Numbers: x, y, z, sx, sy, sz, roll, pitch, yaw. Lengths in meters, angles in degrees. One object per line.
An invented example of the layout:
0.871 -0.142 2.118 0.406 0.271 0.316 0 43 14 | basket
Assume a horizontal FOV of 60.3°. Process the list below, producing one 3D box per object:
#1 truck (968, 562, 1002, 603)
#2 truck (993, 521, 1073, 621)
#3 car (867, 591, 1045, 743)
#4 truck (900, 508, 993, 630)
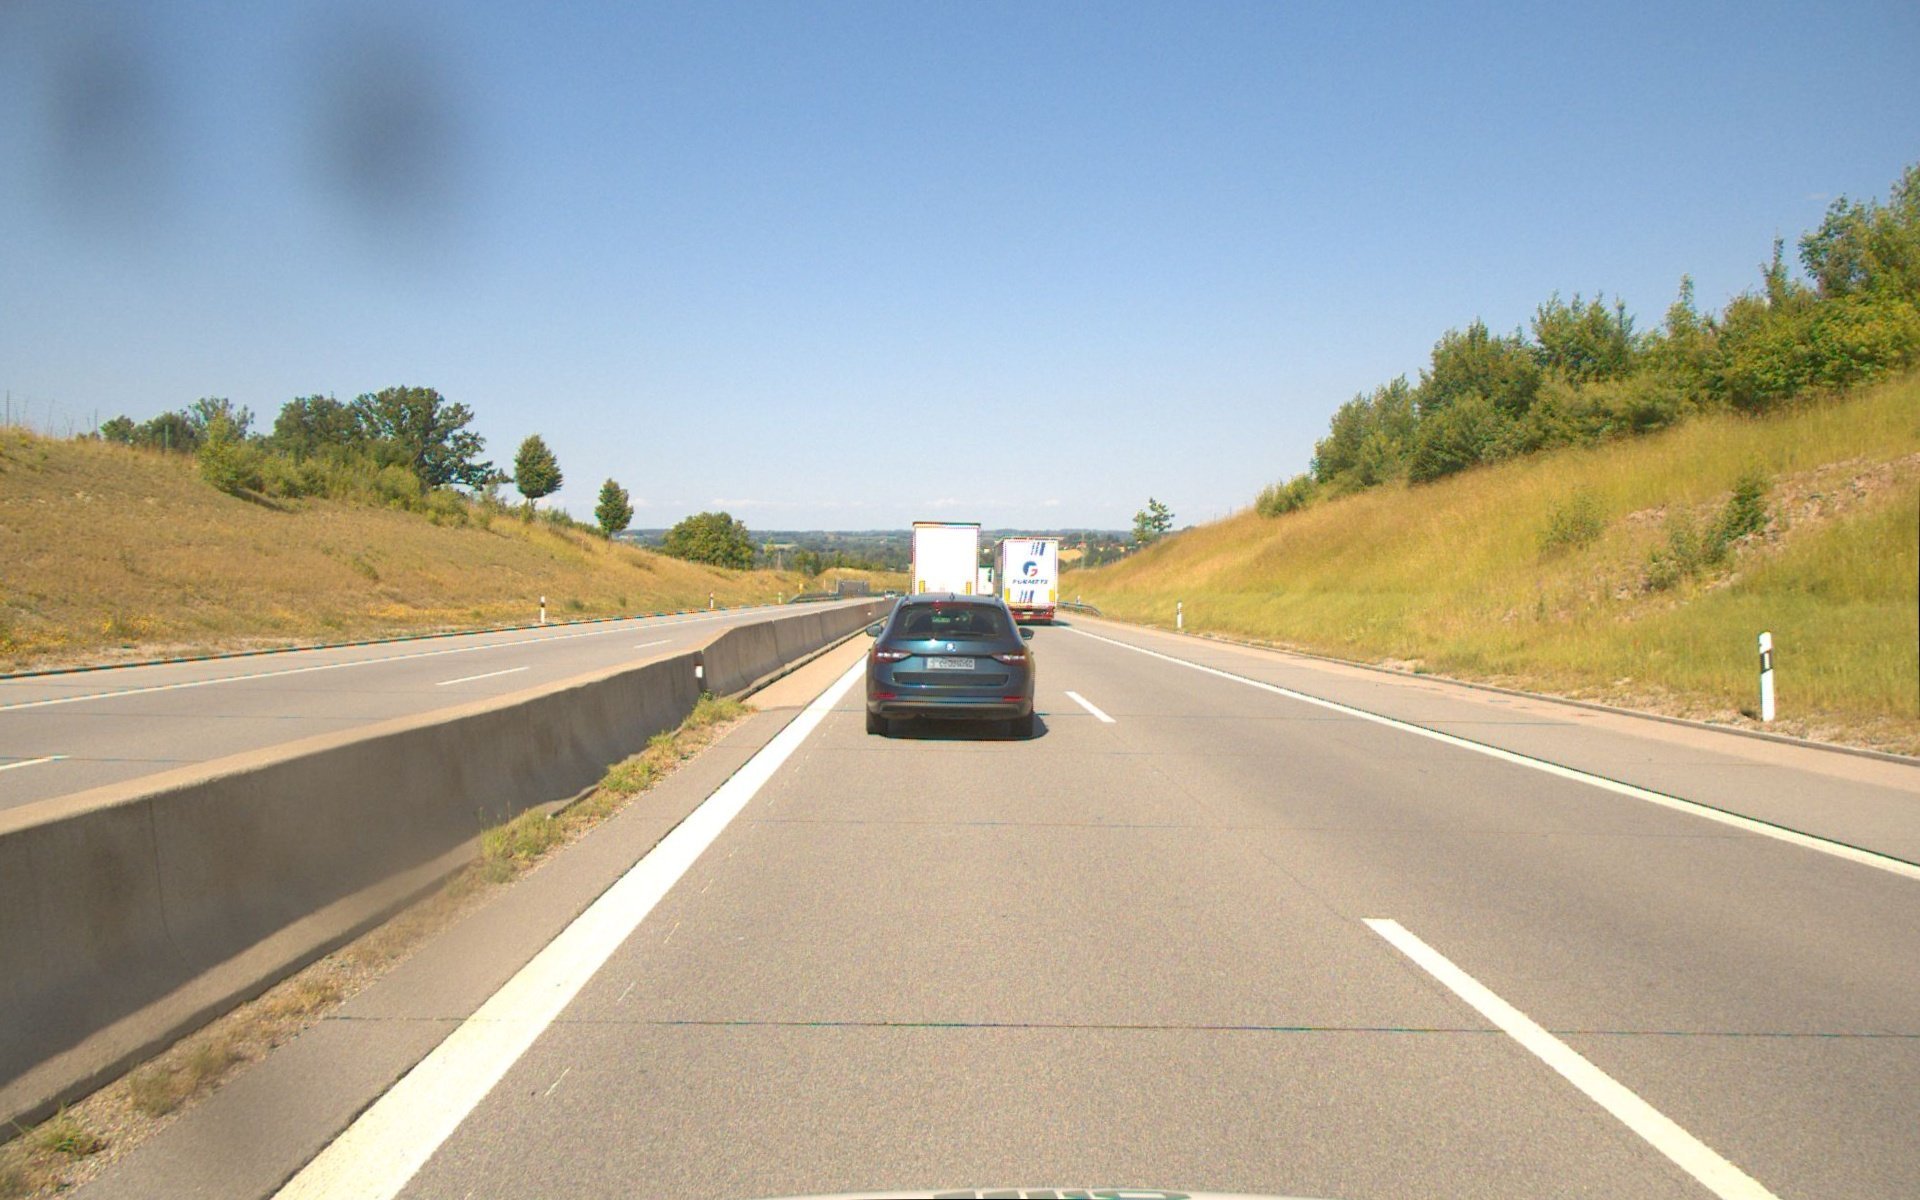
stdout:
2.925 -1.980 188.714 3.529 4.457 11.237 -1 0 2 | truck
3.517 -1.384 80.981 3.529 4.457 11.237 -1 0 2 | truck
-0.092 0.646 18.095 1.741 1.466 3.788 0 0 -2 | car
-0.405 -1.204 67.435 3.144 4.457 11.237 -1 0 2 | truck
